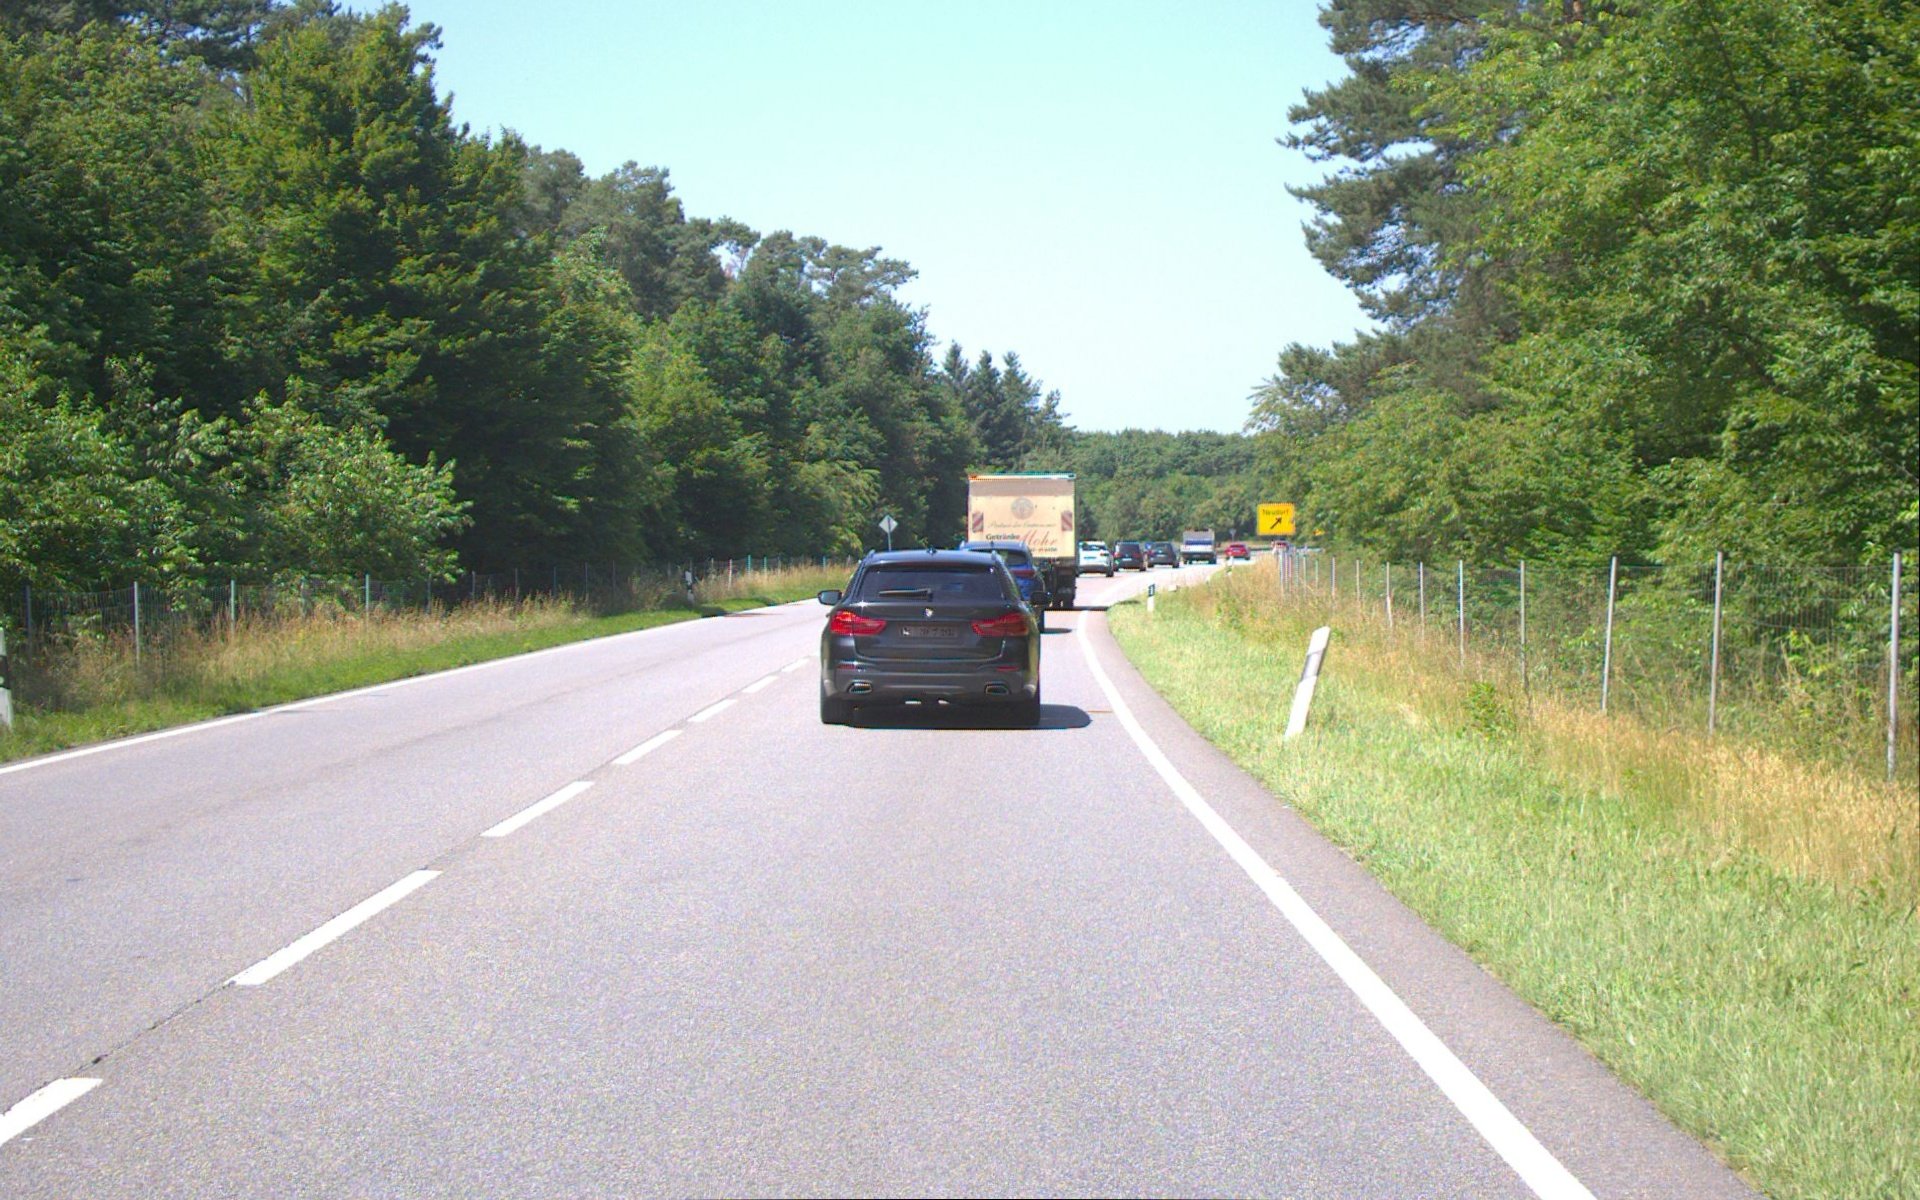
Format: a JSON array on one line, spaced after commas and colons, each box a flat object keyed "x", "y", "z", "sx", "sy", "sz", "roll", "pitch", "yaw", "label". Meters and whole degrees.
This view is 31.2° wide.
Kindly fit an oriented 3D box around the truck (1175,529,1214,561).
[{"x": 16.527, "y": -3.876, "z": 242.144, "sx": 2.564, "sy": 2.195, "sz": 4.973, "roll": 0, "pitch": 1, "yaw": 6, "label": "truck"}]

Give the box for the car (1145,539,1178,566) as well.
[{"x": 12.599, "y": -2.970, "z": 215.134, "sx": 1.994, "sy": 1.631, "sz": 4.000, "roll": -1, "pitch": 1, "yaw": 4, "label": "car"}]

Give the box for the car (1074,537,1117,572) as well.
[{"x": 6.232, "y": -2.115, "z": 158.464, "sx": 1.863, "sy": 1.600, "sz": 4.000, "roll": 0, "pitch": 1, "yaw": 1, "label": "car"}]

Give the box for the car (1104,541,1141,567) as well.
[{"x": 9.039, "y": -2.562, "z": 191.219, "sx": 1.994, "sy": 1.415, "sz": 4.000, "roll": 1, "pitch": 1, "yaw": 4, "label": "car"}]

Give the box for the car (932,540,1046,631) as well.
[{"x": 0.487, "y": -0.295, "z": 61.916, "sx": 1.947, "sy": 1.536, "sz": 4.000, "roll": -1, "pitch": 1, "yaw": 0, "label": "car"}]

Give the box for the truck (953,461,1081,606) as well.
[{"x": 1.452, "y": -1.632, "z": 83.841, "sx": 2.966, "sy": 3.376, "sz": 6.438, "roll": 0, "pitch": 1, "yaw": 2, "label": "truck"}]

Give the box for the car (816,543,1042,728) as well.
[{"x": -0.302, "y": 0.254, "z": 29.896, "sx": 1.820, "sy": 1.465, "sz": 4.000, "roll": -1, "pitch": 1, "yaw": -1, "label": "car"}]
